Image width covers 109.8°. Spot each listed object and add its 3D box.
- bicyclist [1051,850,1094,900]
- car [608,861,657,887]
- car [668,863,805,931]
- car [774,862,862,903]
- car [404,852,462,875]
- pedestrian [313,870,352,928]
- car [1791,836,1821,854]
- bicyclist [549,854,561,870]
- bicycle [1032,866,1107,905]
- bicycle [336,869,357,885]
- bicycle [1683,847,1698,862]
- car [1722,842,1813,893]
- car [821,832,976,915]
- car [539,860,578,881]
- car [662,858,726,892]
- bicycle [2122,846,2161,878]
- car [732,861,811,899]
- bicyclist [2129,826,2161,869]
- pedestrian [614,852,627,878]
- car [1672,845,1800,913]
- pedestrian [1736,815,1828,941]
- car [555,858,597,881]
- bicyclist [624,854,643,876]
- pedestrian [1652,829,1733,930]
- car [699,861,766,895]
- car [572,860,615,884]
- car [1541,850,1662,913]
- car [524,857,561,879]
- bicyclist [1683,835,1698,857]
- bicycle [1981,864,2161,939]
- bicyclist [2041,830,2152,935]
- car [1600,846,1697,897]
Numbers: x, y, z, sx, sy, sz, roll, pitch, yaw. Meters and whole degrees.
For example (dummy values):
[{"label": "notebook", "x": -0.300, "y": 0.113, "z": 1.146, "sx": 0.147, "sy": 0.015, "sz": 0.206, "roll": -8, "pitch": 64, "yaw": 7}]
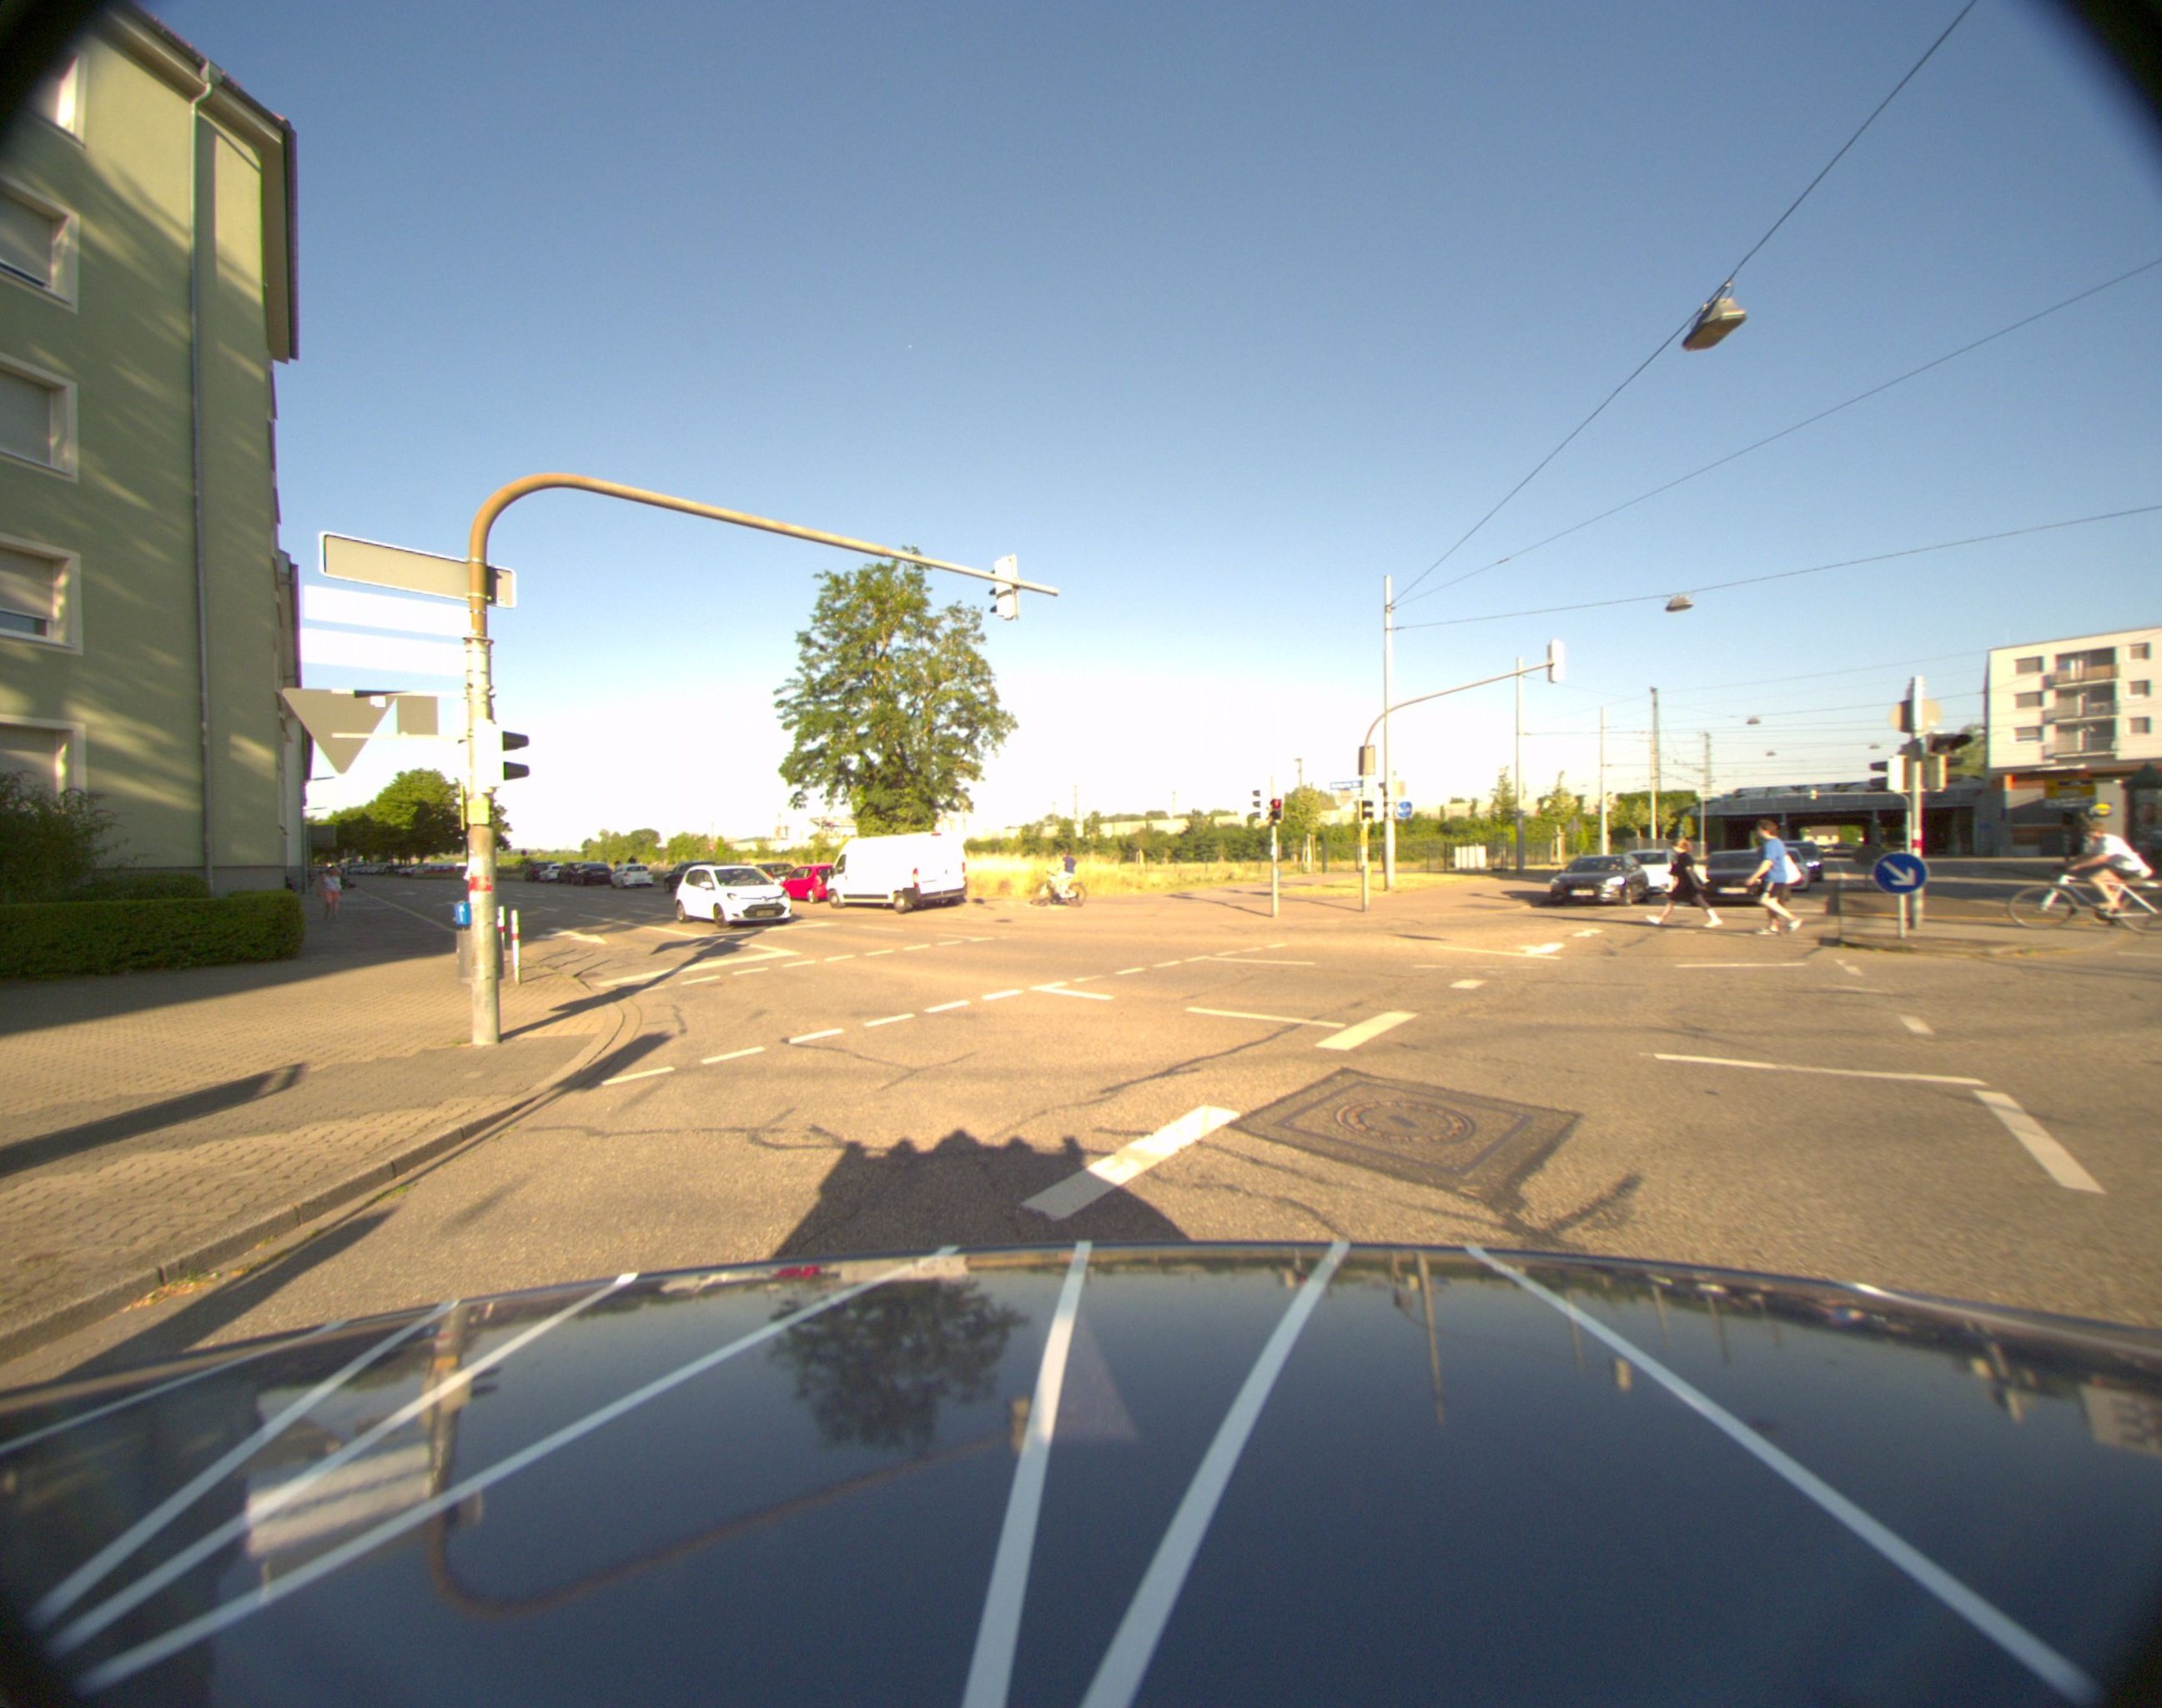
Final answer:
[{"label": "bicyclist", "x": -0.256, "y": 0.640, "z": 23.776, "sx": 1.019, "sy": 1.538, "sz": 0.854, "roll": 0, "pitch": 1, "yaw": 30}, {"label": "car", "x": -27.756, "y": 1.198, "z": 46.994, "sx": 3.572, "sy": 1.517, "sz": 1.711, "roll": -1, "pitch": 1, "yaw": 45}, {"label": "car", "x": -8.560, "y": 0.986, "z": 18.755, "sx": 3.764, "sy": 1.460, "sz": 1.709, "roll": -1, "pitch": 1, "yaw": 43}, {"label": "car", "x": -10.533, "y": 1.099, "z": 30.333, "sx": 3.683, "sy": 1.478, "sz": 1.750, "roll": -1, "pitch": 1, "yaw": 43}, {"label": "car", "x": -84.469, "y": 1.218, "z": 99.048, "sx": 2.259, "sy": 2.399, "sz": 5.334, "roll": 0, "pitch": 5, "yaw": 44}, {"label": "pedestrian", "x": -22.709, "y": 1.343, "z": 23.055, "sx": 0.947, "sy": 1.697, "sz": 0.789, "roll": 1, "pitch": 1, "yaw": 44}, {"label": "car", "x": 73.136, "y": -0.916, "z": 76.643, "sx": 4.008, "sy": 1.694, "sz": 1.994, "roll": -1, "pitch": 1, "yaw": -44}, {"label": "bicyclist", "x": -52.334, "y": 0.812, "z": 75.540, "sx": 0.770, "sy": 1.587, "sz": 1.143, "roll": -2, "pitch": 1, "yaw": -44}, {"label": "bicycle", "x": -0.371, "y": 0.960, "z": 23.795, "sx": 2.286, "sy": 1.142, "sz": 0.794, "roll": 0, "pitch": 1, "yaw": 31}, {"label": "bicycle", "x": -51.625, "y": 1.631, "z": 53.389, "sx": 2.196, "sy": 1.091, "sz": 0.652, "roll": -1, "pitch": 1, "yaw": 35}, {"label": "bicycle", "x": 43.888, "y": 0.012, "z": 54.694, "sx": 0.661, "sy": 1.063, "sz": 2.023, "roll": 0, "pitch": 1, "yaw": 45}, {"label": "car", "x": 23.413, "y": 0.410, "z": 25.868, "sx": 4.465, "sy": 1.558, "sz": 1.994, "roll": -1, "pitch": 1, "yaw": -44}, {"label": "car", "x": -6.297, "y": 0.589, "z": 25.794, "sx": 5.545, "sy": 2.423, "sz": 2.240, "roll": 0, "pitch": 4, "yaw": 42}, {"label": "car", "x": -42.004, "y": 1.276, "z": 60.994, "sx": 1.829, "sy": 1.565, "sz": 4.207, "roll": -2, "pitch": 1, "yaw": -45}, {"label": "car", "x": -20.156, "y": 1.073, "z": 39.473, "sx": 3.994, "sy": 1.649, "sz": 1.668, "roll": -1, "pitch": 1, "yaw": 43}, {"label": "bicycle", "x": 37.845, "y": 0.263, "z": 26.824, "sx": 0.662, "sy": 1.063, "sz": 2.023, "roll": 0, "pitch": 1, "yaw": 36}, {"label": "car", "x": -13.639, "y": 1.089, "z": 33.391, "sx": 3.805, "sy": 1.521, "sz": 1.750, "roll": -1, "pitch": 1, "yaw": 43}, {"label": "bicyclist", "x": 37.890, "y": -0.237, "z": 26.849, "sx": 0.696, "sy": 1.523, "sz": 1.039, "roll": 0, "pitch": 1, "yaw": 35}, {"label": "pedestrian", "x": -35.913, "y": 0.823, "z": 59.236, "sx": 0.728, "sy": 2.002, "sz": 0.617, "roll": 0, "pitch": 1, "yaw": 42}, {"label": "car", "x": 17.467, "y": 0.580, "z": 20.189, "sx": 4.459, "sy": 1.558, "sz": 2.048, "roll": -1, "pitch": 1, "yaw": -43}, {"label": "pedestrian", "x": 11.287, "y": 0.360, "z": 12.245, "sx": 1.064, "sy": 1.914, "sz": 0.916, "roll": 0, "pitch": 1, "yaw": 44}, {"label": "car", "x": -38.093, "y": 1.167, "z": 57.304, "sx": 1.829, "sy": 1.628, "sz": 4.207, "roll": -2, "pitch": 1, "yaw": -45}, {"label": "bicyclist", "x": -33.472, "y": 0.839, "z": 56.805, "sx": 1.143, "sy": 1.587, "sz": 0.869, "roll": 0, "pitch": 1, "yaw": 43}, {"label": "pedestrian", "x": 11.124, "y": 0.438, "z": 13.824, "sx": 1.064, "sy": 1.737, "sz": 0.916, "roll": 0, "pitch": 1, "yaw": 44}, {"label": "car", "x": -16.711, "y": 1.110, "z": 36.407, "sx": 3.569, "sy": 1.521, "sz": 1.668, "roll": -1, "pitch": 1, "yaw": 43}, {"label": "car", "x": -34.138, "y": 1.221, "z": 53.212, "sx": 1.829, "sy": 1.517, "sz": 4.277, "roll": -2, "pitch": 1, "yaw": -42}, {"label": "car", "x": 14.925, "y": 0.708, "z": 21.703, "sx": 4.283, "sy": 1.558, "sz": 1.994, "roll": -1, "pitch": 0, "yaw": -44}, {"label": "car", "x": -46.183, "y": 1.177, "z": 65.118, "sx": 1.896, "sy": 1.765, "sz": 4.207, "roll": -2, "pitch": 1, "yaw": -44}, {"label": "bicyclist", "x": 43.872, "y": -0.578, "z": 54.715, "sx": 0.775, "sy": 1.596, "sz": 0.859, "roll": 1, "pitch": 1, "yaw": 44}, {"label": "bicycle", "x": 16.463, "y": 0.740, "z": 12.458, "sx": 0.702, "sy": 1.135, "sz": 2.195, "roll": -2, "pitch": 1, "yaw": -41}, {"label": "bicyclist", "x": 16.506, "y": 0.438, "z": 12.384, "sx": 0.715, "sy": 1.620, "sz": 1.039, "roll": -2, "pitch": 1, "yaw": -40}, {"label": "car", "x": 19.651, "y": 0.545, "z": 26.239, "sx": 4.283, "sy": 1.558, "sz": 1.994, "roll": -1, "pitch": 1, "yaw": -44}]
